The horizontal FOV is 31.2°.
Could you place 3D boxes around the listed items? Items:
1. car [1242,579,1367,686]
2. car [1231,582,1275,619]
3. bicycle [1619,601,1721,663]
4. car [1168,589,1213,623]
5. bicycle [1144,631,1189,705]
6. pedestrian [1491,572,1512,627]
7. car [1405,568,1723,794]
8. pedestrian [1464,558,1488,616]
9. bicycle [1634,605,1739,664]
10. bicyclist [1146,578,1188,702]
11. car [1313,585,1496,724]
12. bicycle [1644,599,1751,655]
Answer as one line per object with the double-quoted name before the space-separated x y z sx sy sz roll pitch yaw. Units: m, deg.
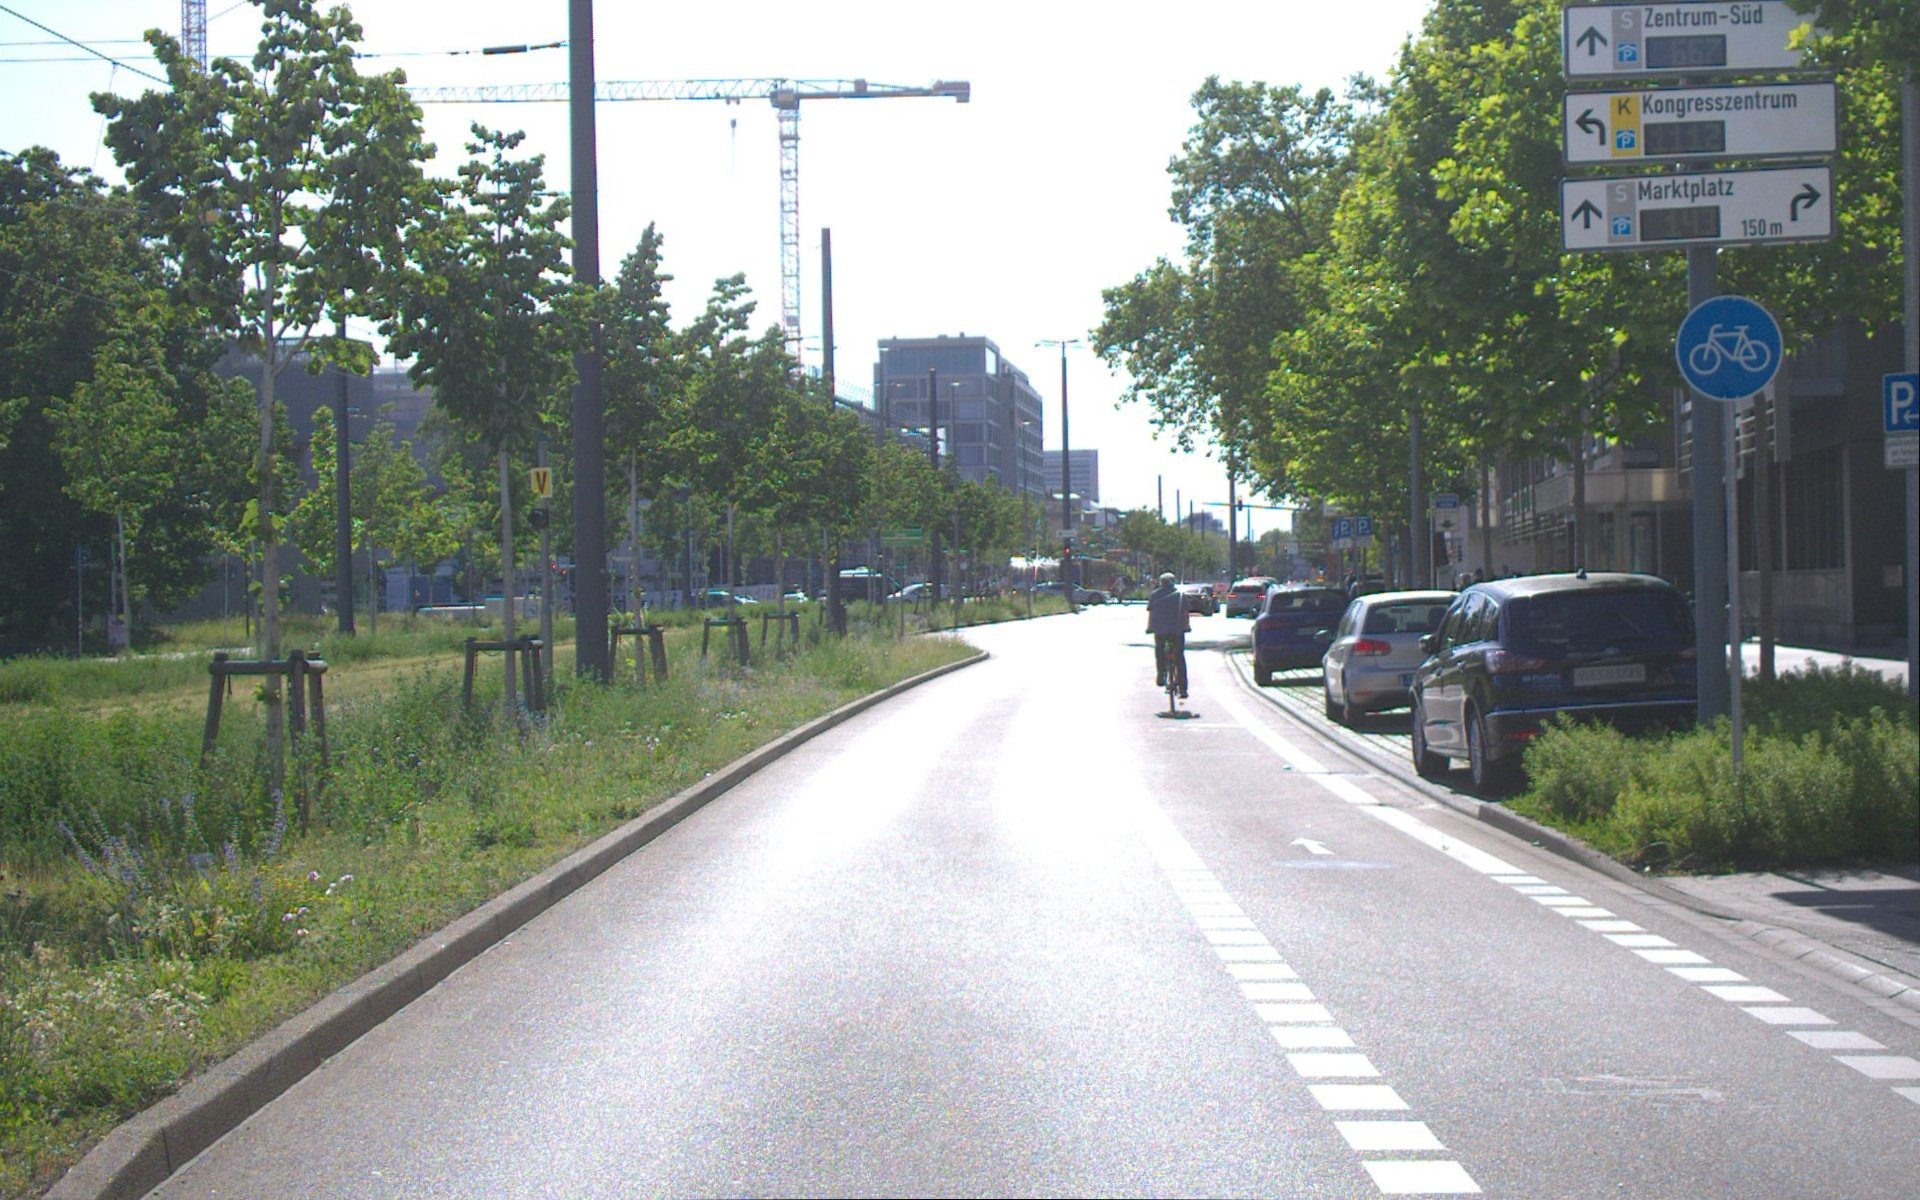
"car" 5.800 0.518 58.342 1.849 1.651 4.848 -2 0 3
"car" 13.178 0.014 154.435 1.722 1.612 4.185 -1 0 8
"bicycle" 13.762 0.621 66.695 1.858 1.094 0.426 -3 0 8
"car" 10.646 0.266 158.551 1.912 1.481 4.009 -1 0 5
"bicycle" 2.671 0.863 44.528 0.497 0.903 2.196 1 0 2
"pedestrian" 16.804 -0.014 106.699 0.511 1.695 0.774 -3 0 6
"car" 4.779 0.594 27.773 1.747 1.653 4.470 -1 0 0
"pedestrian" 13.264 -0.332 88.415 0.511 1.469 0.736 -3 0 6
"bicycle" 13.714 0.656 64.906 1.858 1.007 0.426 -3 0 8
"bicyclist" 2.678 0.513 44.518 0.512 1.596 0.536 -1 0 2
"car" 5.107 0.595 39.918 1.618 1.460 4.155 -2 0 1
"bicycle" 13.711 0.496 63.927 1.858 0.935 0.426 -3 0 8
